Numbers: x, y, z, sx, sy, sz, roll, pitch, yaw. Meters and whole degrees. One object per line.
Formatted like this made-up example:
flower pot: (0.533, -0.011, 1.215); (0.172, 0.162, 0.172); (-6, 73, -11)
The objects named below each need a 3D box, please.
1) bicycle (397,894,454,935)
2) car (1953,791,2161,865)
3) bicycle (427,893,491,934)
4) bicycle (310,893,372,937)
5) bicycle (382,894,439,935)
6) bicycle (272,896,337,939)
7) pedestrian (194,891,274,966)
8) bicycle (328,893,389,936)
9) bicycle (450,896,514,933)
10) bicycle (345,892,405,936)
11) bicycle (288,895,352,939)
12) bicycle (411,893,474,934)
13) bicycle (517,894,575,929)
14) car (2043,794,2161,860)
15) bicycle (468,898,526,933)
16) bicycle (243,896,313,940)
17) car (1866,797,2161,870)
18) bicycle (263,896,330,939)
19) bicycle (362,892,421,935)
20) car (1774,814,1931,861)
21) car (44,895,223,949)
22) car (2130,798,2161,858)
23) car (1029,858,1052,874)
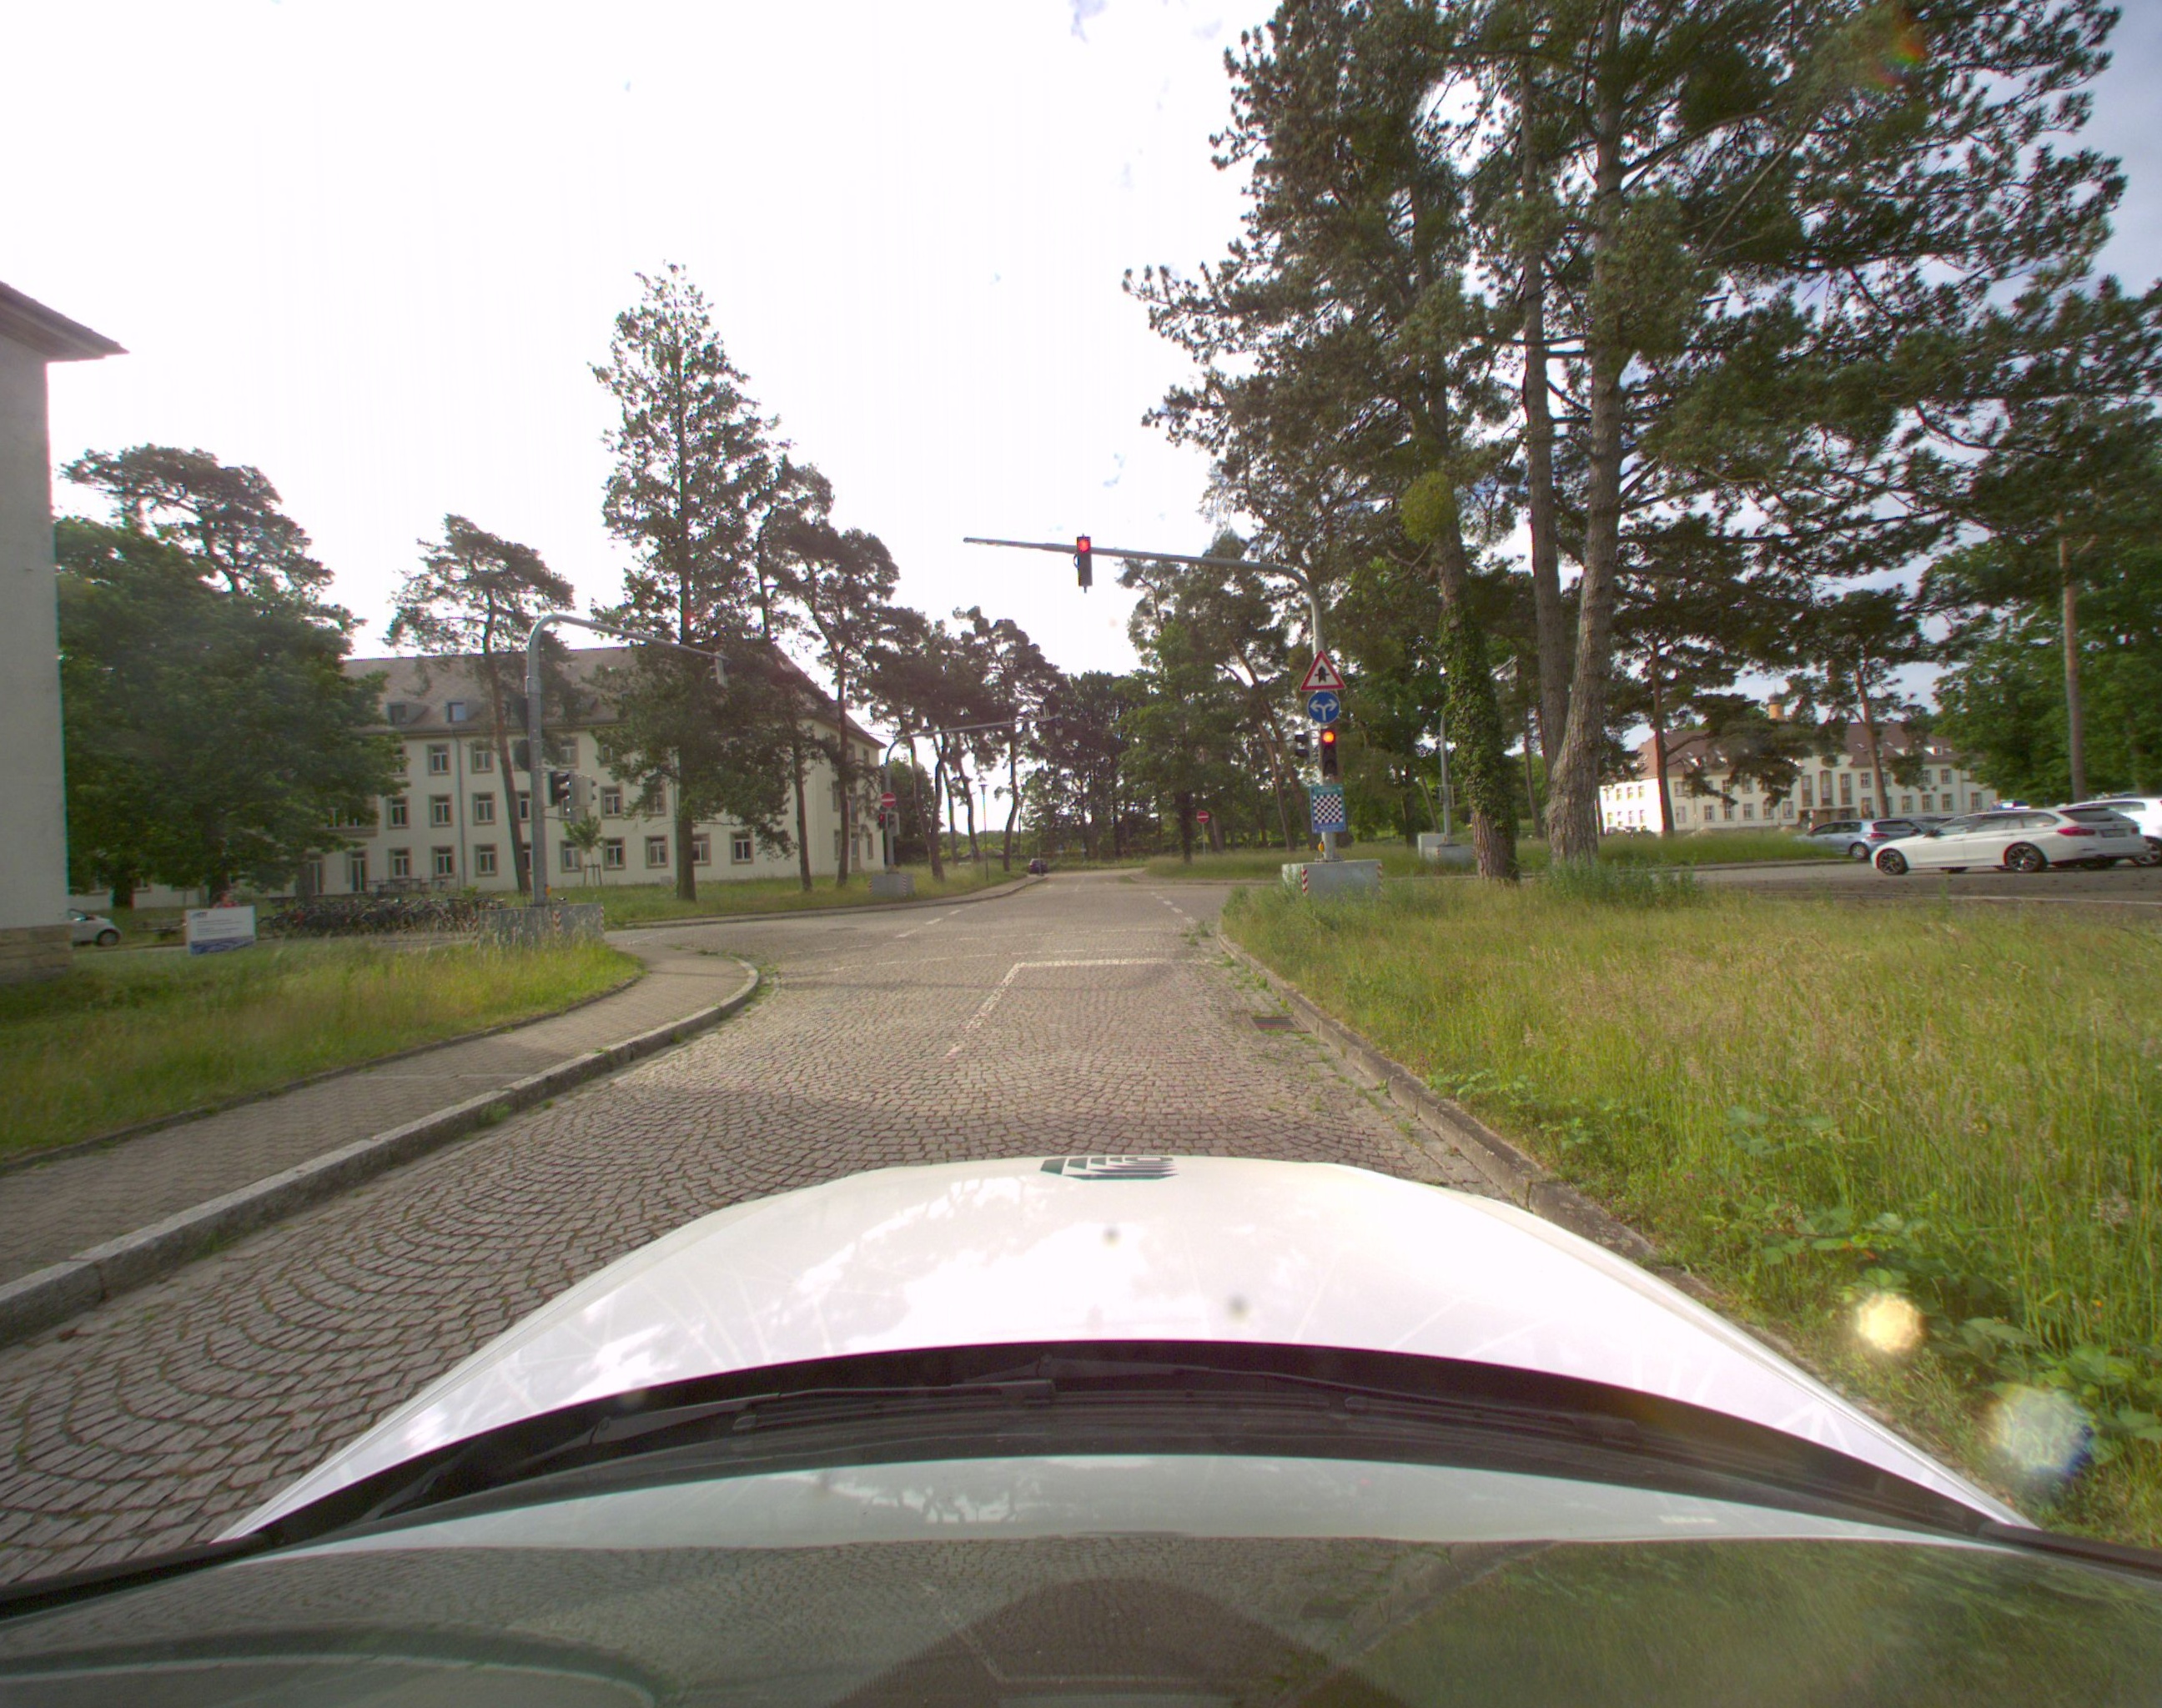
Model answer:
bicycle: (-21.574, 1.974, 26.847); (0.447, 1.178, 1.695); (-3, 0, 0)
car: (23.958, -0.595, 19.230); (1.862, 1.577, 4.444); (-3, 0, -2)
bicycle: (-20.479, 1.932, 26.864); (0.573, 1.178, 1.953); (-3, 0, 0)
bicycle: (-24.357, 1.985, 26.828); (0.447, 1.283, 1.695); (-3, 0, 0)
bicycle: (-22.060, 1.974, 26.827); (0.447, 1.178, 1.695); (-3, 0, 0)
bicycle: (-25.506, 2.069, 26.790); (0.447, 1.283, 1.695); (-3, 0, 0)
pedestrian: (-20.194, 1.749, 19.443); (0.857, 1.668, 0.939); (-3, 0, -2)
bicycle: (-23.794, 1.970, 26.851); (0.447, 1.283, 1.695); (-3, 0, 0)
bicycle: (-19.781, 1.981, 26.950); (0.573, 1.078, 1.996); (-3, 0, 0)
bicycle: (-23.278, 1.956, 26.894); (0.447, 1.283, 1.695); (-3, 0, 0)
bicycle: (-25.019, 2.056, 26.802); (0.447, 1.283, 1.695); (-3, 0, 0)
bicycle: (-21.062, 1.948, 26.903); (0.526, 1.178, 1.930); (-3, 0, 0)
bicycle: (-16.747, 1.792, 25.506); (1.454, 0.996, 0.452); (-3, 0, 1)
car: (26.600, -0.689, 19.468); (1.862, 1.577, 4.444); (-3, 0, -2)
bicycle: (-18.269, 1.926, 25.485); (1.454, 0.996, 0.452); (-3, 0, 1)
bicycle: (-26.438, 2.096, 26.856); (0.447, 1.283, 1.827); (-3, 0, 0)
car: (21.383, -0.382, 18.973); (1.748, 1.415, 4.444); (-3, -1, -2)
bicycle: (-25.973, 2.081, 26.989); (0.441, 1.283, 1.785); (-3, 0, 0)
bicycle: (-22.773, 1.942, 26.935); (0.447, 1.283, 1.695); (-3, 0, 0)
car: (28.833, -0.573, 30.648); (1.745, 1.524, 4.450); (-3, 0, 2)
car: (-34.272, 2.415, 29.631); (1.833, 1.556, 3.898); (-3, 0, 1)
car: (29.402, -0.739, 19.840); (1.862, 1.577, 4.444); (-3, 0, -2)
car: (-4.110, 1.189, 82.713); (1.986, 1.508, 4.002); (-1, 0, 2)
